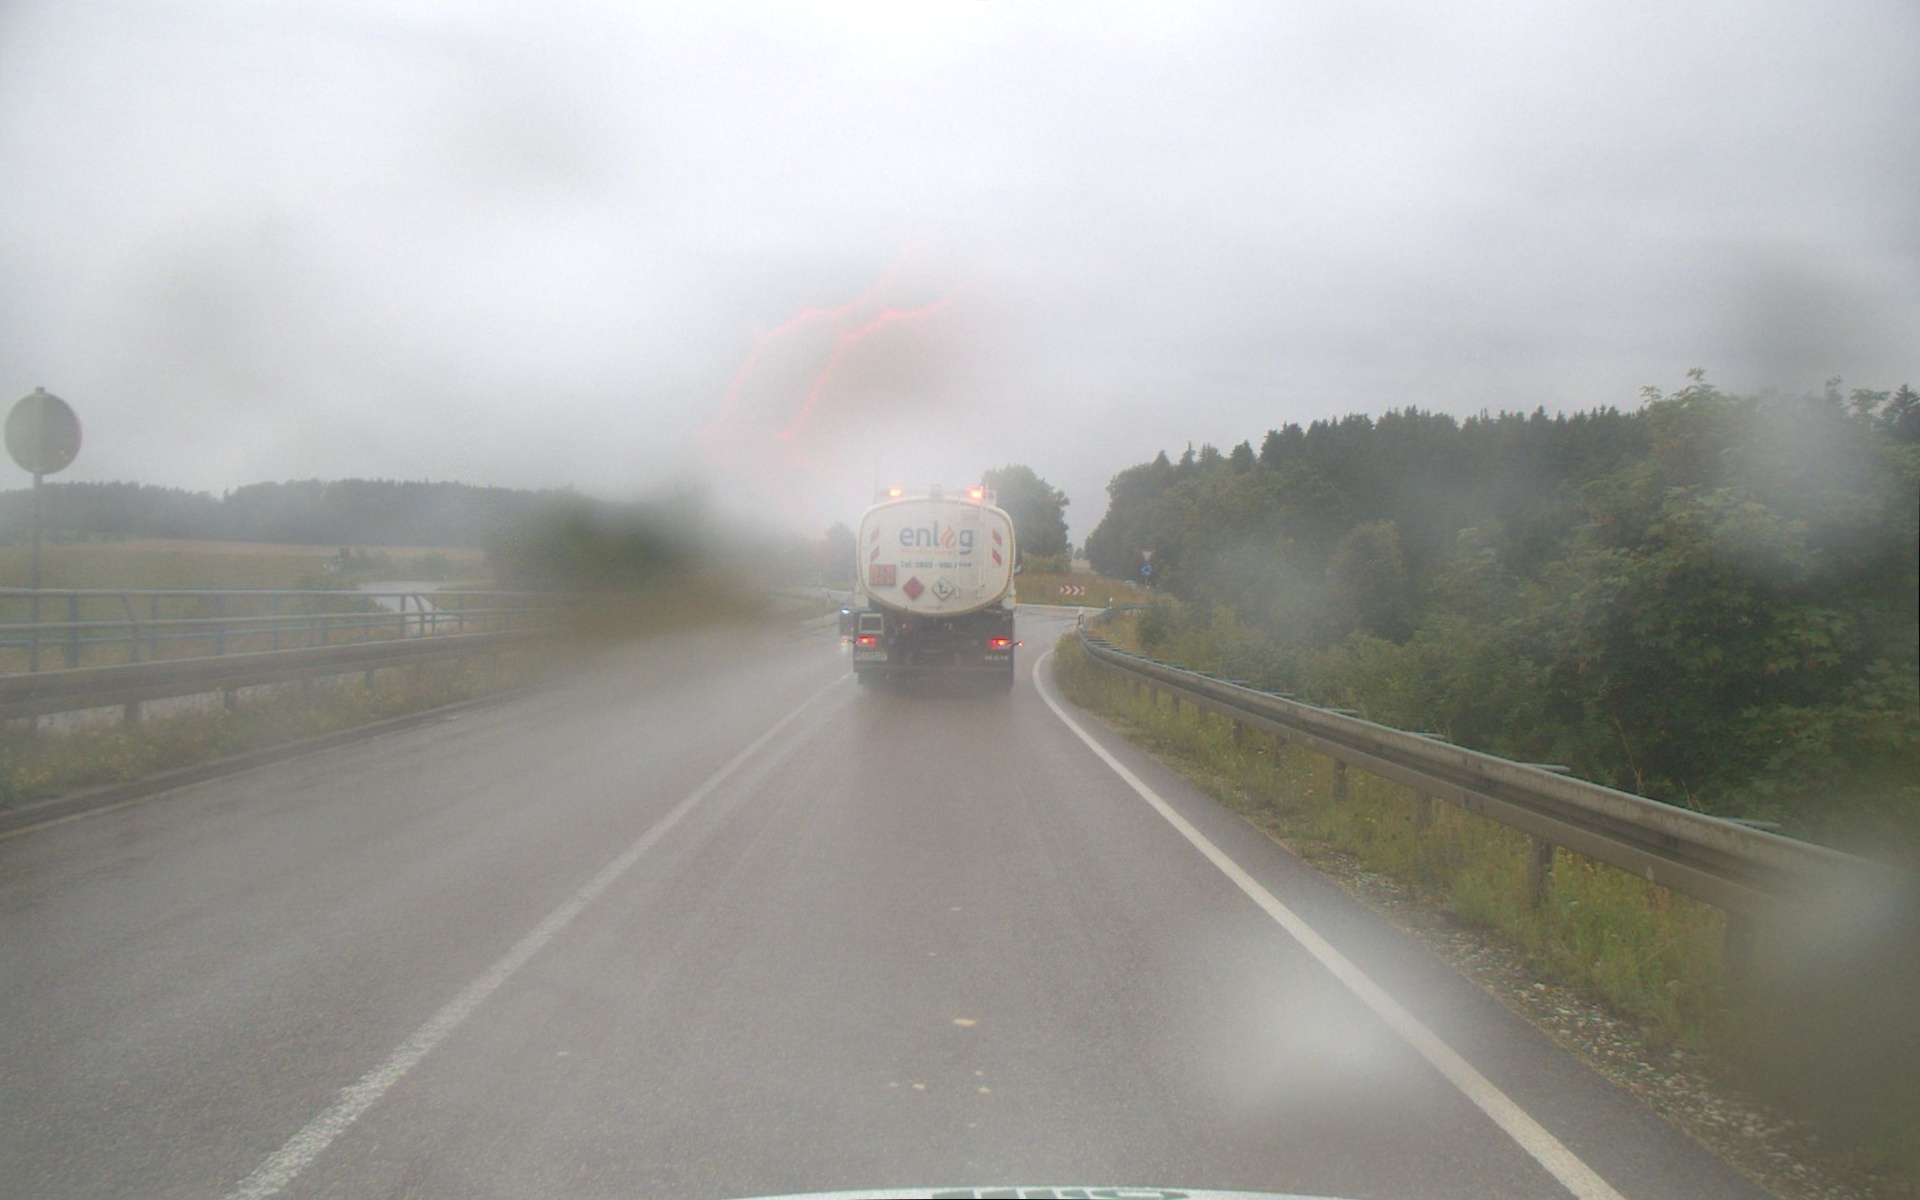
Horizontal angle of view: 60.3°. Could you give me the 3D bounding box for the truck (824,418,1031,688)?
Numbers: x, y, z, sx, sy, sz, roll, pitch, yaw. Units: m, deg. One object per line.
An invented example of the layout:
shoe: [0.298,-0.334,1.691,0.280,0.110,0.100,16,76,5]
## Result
truck: [-0.448,-0.746,28.646,2.977,3.919,8.823,1,1,0]

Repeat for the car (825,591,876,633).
car: [-4.290,0.452,65.214,1.744,1.552,4.168,1,0,0]
